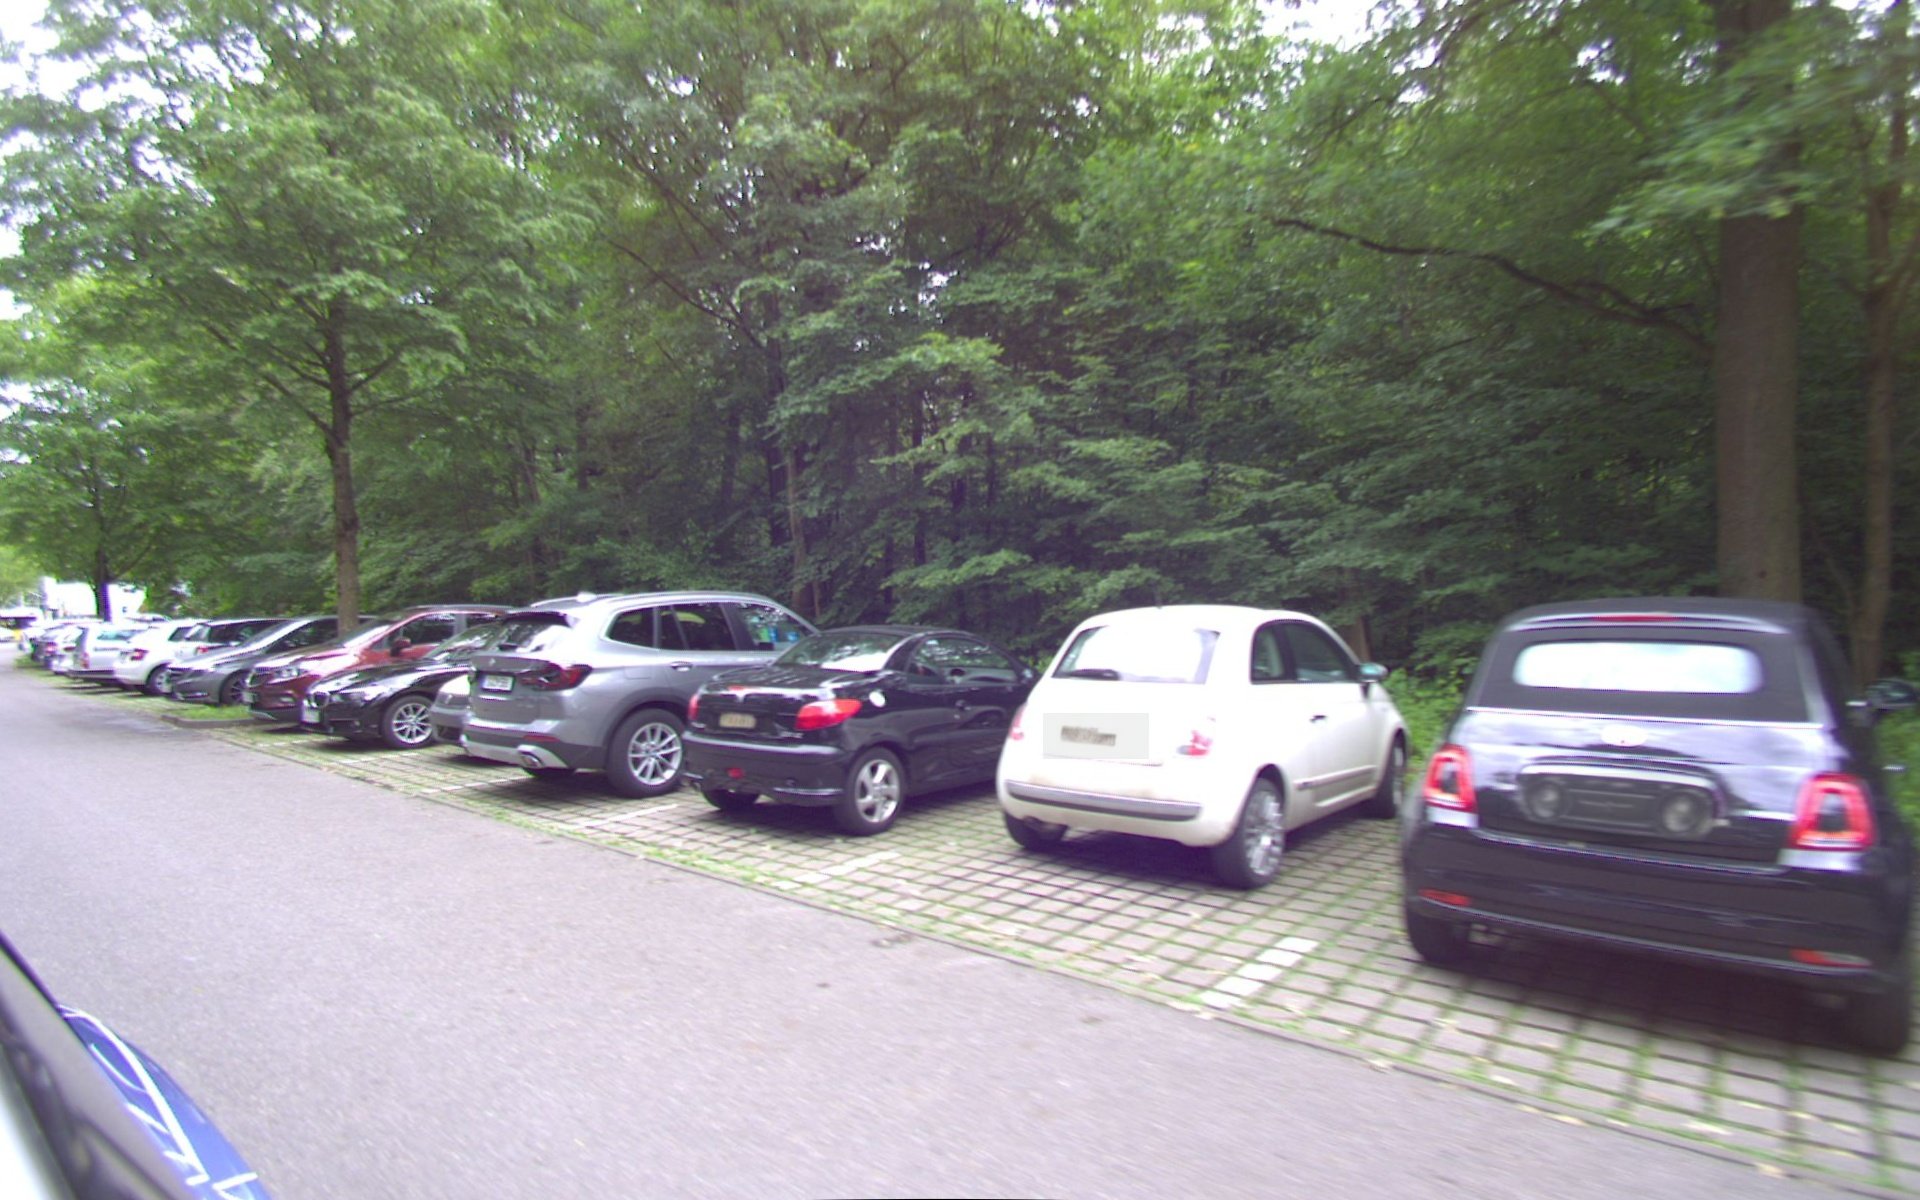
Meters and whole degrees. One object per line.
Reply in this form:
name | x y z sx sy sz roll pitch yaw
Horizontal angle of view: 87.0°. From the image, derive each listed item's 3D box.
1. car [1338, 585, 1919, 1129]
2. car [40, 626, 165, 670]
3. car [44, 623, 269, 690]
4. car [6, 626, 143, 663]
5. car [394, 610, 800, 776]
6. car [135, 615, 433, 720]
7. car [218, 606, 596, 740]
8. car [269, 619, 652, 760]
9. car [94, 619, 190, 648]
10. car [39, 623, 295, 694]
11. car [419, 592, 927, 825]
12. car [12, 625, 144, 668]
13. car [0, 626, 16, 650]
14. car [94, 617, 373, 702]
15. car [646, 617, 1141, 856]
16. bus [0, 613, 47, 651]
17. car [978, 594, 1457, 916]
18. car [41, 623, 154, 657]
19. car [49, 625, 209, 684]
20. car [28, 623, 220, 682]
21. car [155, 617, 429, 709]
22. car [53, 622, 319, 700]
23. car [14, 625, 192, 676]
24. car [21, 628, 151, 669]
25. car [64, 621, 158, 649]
car | 3.603 0.717 4.944 1.837 1.500 4.354 -2 0 41
car | -31.310 1.703 36.986 3.424 1.492 1.685 0 -2 -43
car | -20.807 1.397 26.353 1.890 1.497 4.322 -1 -1 40
car | -39.935 1.965 45.800 4.582 1.489 2.098 0 -1 -41
car | -3.964 0.901 11.530 1.799 1.476 3.979 -2 -1 43
car | -11.792 1.093 17.854 1.918 1.567 3.993 -2 -1 40
car | -7.894 0.929 14.795 1.926 1.596 4.468 -2 -1 41
car | -6.114 0.988 12.748 1.785 1.374 3.947 -2 0 40
car | -58.039 2.345 71.929 5.015 1.930 1.984 0 -1 -29
car | -18.953 1.332 24.370 2.083 1.458 4.518 -2 -1 38
car | -2.485 0.794 9.563 2.028 1.645 4.181 -2 0 41
car | -36.453 1.884 41.980 3.907 1.640 2.003 0 -1 -34
car | -70.466 2.769 71.960 4.456 1.706 2.172 -1 0 -24
car | -15.341 1.179 21.581 1.939 1.497 4.516 -2 0 40
car | -0.298 0.868 8.170 1.808 1.320 3.941 -2 -1 38
bus | -84.845 2.854 87.952 2.803 3.183 7.671 -4 -2 32
car | 1.946 0.739 6.740 1.658 1.462 3.828 -3 -1 38
car | -42.484 1.961 49.944 4.181 1.545 1.765 0 -1 -41
car | -22.760 1.447 27.787 1.680 1.455 3.185 -2 -1 41
car | -24.559 1.480 29.816 4.216 1.497 2.059 -1 -1 -44
car | -13.143 1.164 20.148 1.844 1.562 4.196 -2 -1 36
car | -17.259 1.281 22.747 1.869 1.497 4.513 -2 -1 42
car | -28.148 1.614 33.327 4.353 1.435 2.037 -1 -1 -44
car | -33.195 1.807 38.486 3.682 1.430 1.874 0 -1 -43
car | -53.215 2.184 63.574 4.296 1.610 2.036 0 -1 -33
